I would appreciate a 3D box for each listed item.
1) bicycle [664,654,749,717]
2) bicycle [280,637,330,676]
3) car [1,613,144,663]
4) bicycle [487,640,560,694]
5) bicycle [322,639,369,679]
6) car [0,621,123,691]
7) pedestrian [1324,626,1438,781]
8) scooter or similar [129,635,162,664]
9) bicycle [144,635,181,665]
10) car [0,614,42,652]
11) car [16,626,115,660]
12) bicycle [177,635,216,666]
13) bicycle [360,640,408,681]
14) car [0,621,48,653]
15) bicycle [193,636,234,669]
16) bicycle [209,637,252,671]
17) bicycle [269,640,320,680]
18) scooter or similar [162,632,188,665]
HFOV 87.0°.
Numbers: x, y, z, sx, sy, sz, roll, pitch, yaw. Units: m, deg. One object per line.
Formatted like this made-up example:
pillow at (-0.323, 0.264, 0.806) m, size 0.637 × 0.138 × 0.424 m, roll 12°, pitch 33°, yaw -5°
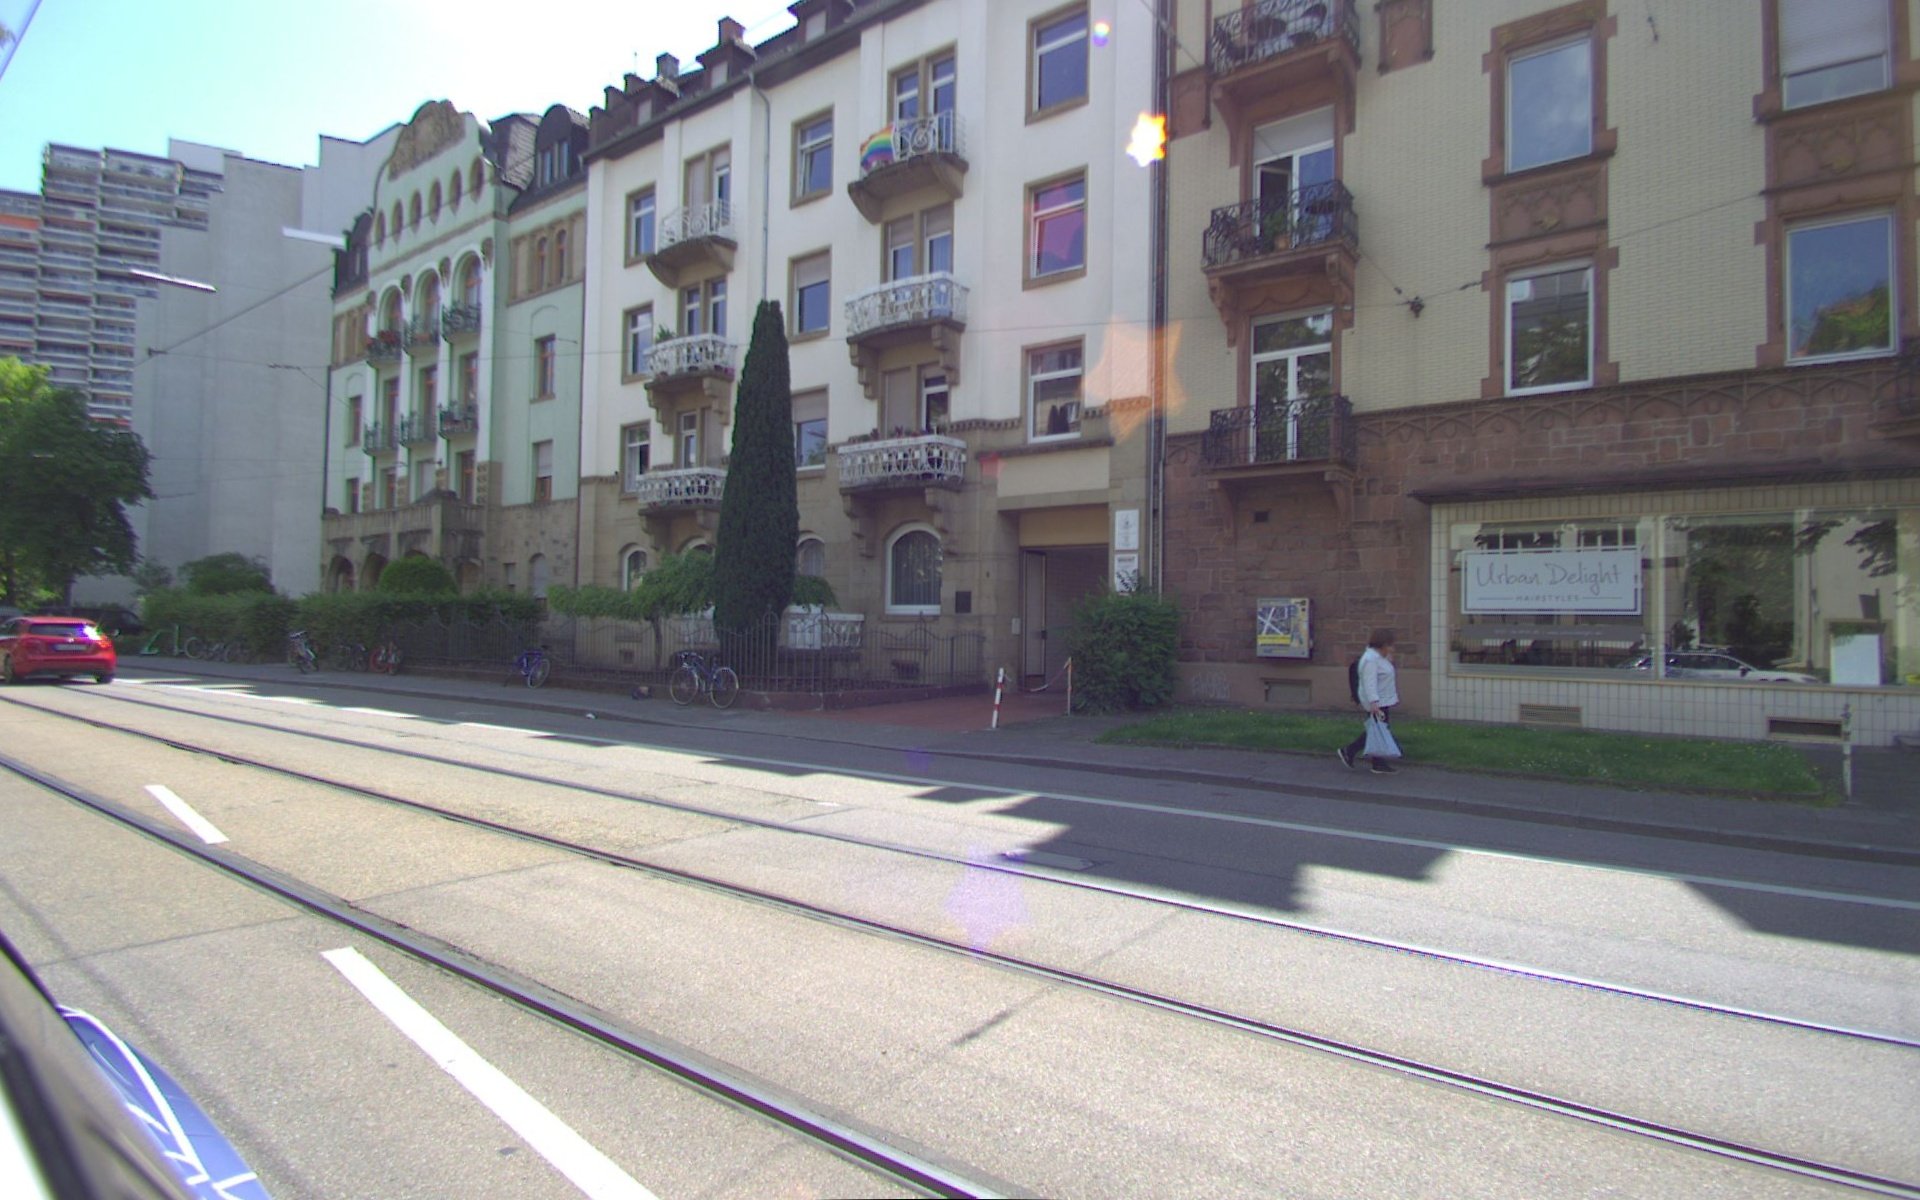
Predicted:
bicycle at (-4.505, 1.493, 17.903) m, size 1.838 × 0.968 × 0.406 m, roll 0°, pitch 1°, yaw 38°
bicycle at (-18.665, 1.587, 28.815) m, size 1.768 × 1.040 × 0.602 m, roll -1°, pitch 1°, yaw 37°
car at (-37.052, 1.591, 42.434) m, size 1.935 × 1.940 × 4.585 m, roll 1°, pitch -2°, yaw 0°
bicycle at (-9.318, 1.407, 21.572) m, size 1.768 × 1.073 × 0.602 m, roll -1°, pitch 1°, yaw 37°
bicycle at (-16.190, 1.540, 26.661) m, size 1.705 × 1.007 × 0.460 m, roll -1°, pitch 0°, yaw 38°
car at (-20.483, 1.217, 22.464) m, size 4.419 × 1.424 × 1.807 m, roll -1°, pitch -4°, yaw 36°
pedestrian at (4.508, 1.061, 10.817) m, size 0.981 × 1.554 × 0.893 m, roll -1°, pitch -3°, yaw 33°
scooter or similar at (-30.213, 1.828, 37.540) m, size 1.215 × 1.028 × 0.404 m, roll 0°, pitch -3°, yaw 22°
bicycle at (-28.811, 1.799, 36.553) m, size 1.705 × 0.997 × 0.602 m, roll -1°, pitch 1°, yaw 37°
car at (-51.909, 1.765, 54.349) m, size 1.578 × 2.058 × 4.055 m, roll 1°, pitch -2°, yaw -3°
car at (-41.313, 1.976, 46.831) m, size 1.699 × 1.465 × 3.634 m, roll 1°, pitch -2°, yaw -9°
bicycle at (-25.990, 1.713, 34.425) m, size 1.705 × 0.997 × 0.602 m, roll -1°, pitch 1°, yaw 37°
bicycle at (-14.632, 1.518, 25.673) m, size 1.723 × 0.973 × 0.409 m, roll -1°, pitch 0°, yaw 38°
car at (-49.288, 1.886, 52.014) m, size 1.657 × 1.587 × 3.688 m, roll 2°, pitch -2°, yaw -5°
bicycle at (-24.533, 1.707, 33.246) m, size 1.705 × 0.997 × 0.602 m, roll -1°, pitch 1°, yaw 37°
bicycle at (-23.110, 1.697, 32.064) m, size 1.768 × 0.983 × 0.602 m, roll -1°, pitch 1°, yaw 37°
bicycle at (-17.446, 1.554, 26.571) m, size 0.599 × 1.007 × 1.780 m, roll 2°, pitch -2°, yaw -17°
scooter or similar at (-27.561, 1.707, 35.529) m, size 1.289 × 1.129 × 0.402 m, roll -1°, pitch -3°, yaw 39°
